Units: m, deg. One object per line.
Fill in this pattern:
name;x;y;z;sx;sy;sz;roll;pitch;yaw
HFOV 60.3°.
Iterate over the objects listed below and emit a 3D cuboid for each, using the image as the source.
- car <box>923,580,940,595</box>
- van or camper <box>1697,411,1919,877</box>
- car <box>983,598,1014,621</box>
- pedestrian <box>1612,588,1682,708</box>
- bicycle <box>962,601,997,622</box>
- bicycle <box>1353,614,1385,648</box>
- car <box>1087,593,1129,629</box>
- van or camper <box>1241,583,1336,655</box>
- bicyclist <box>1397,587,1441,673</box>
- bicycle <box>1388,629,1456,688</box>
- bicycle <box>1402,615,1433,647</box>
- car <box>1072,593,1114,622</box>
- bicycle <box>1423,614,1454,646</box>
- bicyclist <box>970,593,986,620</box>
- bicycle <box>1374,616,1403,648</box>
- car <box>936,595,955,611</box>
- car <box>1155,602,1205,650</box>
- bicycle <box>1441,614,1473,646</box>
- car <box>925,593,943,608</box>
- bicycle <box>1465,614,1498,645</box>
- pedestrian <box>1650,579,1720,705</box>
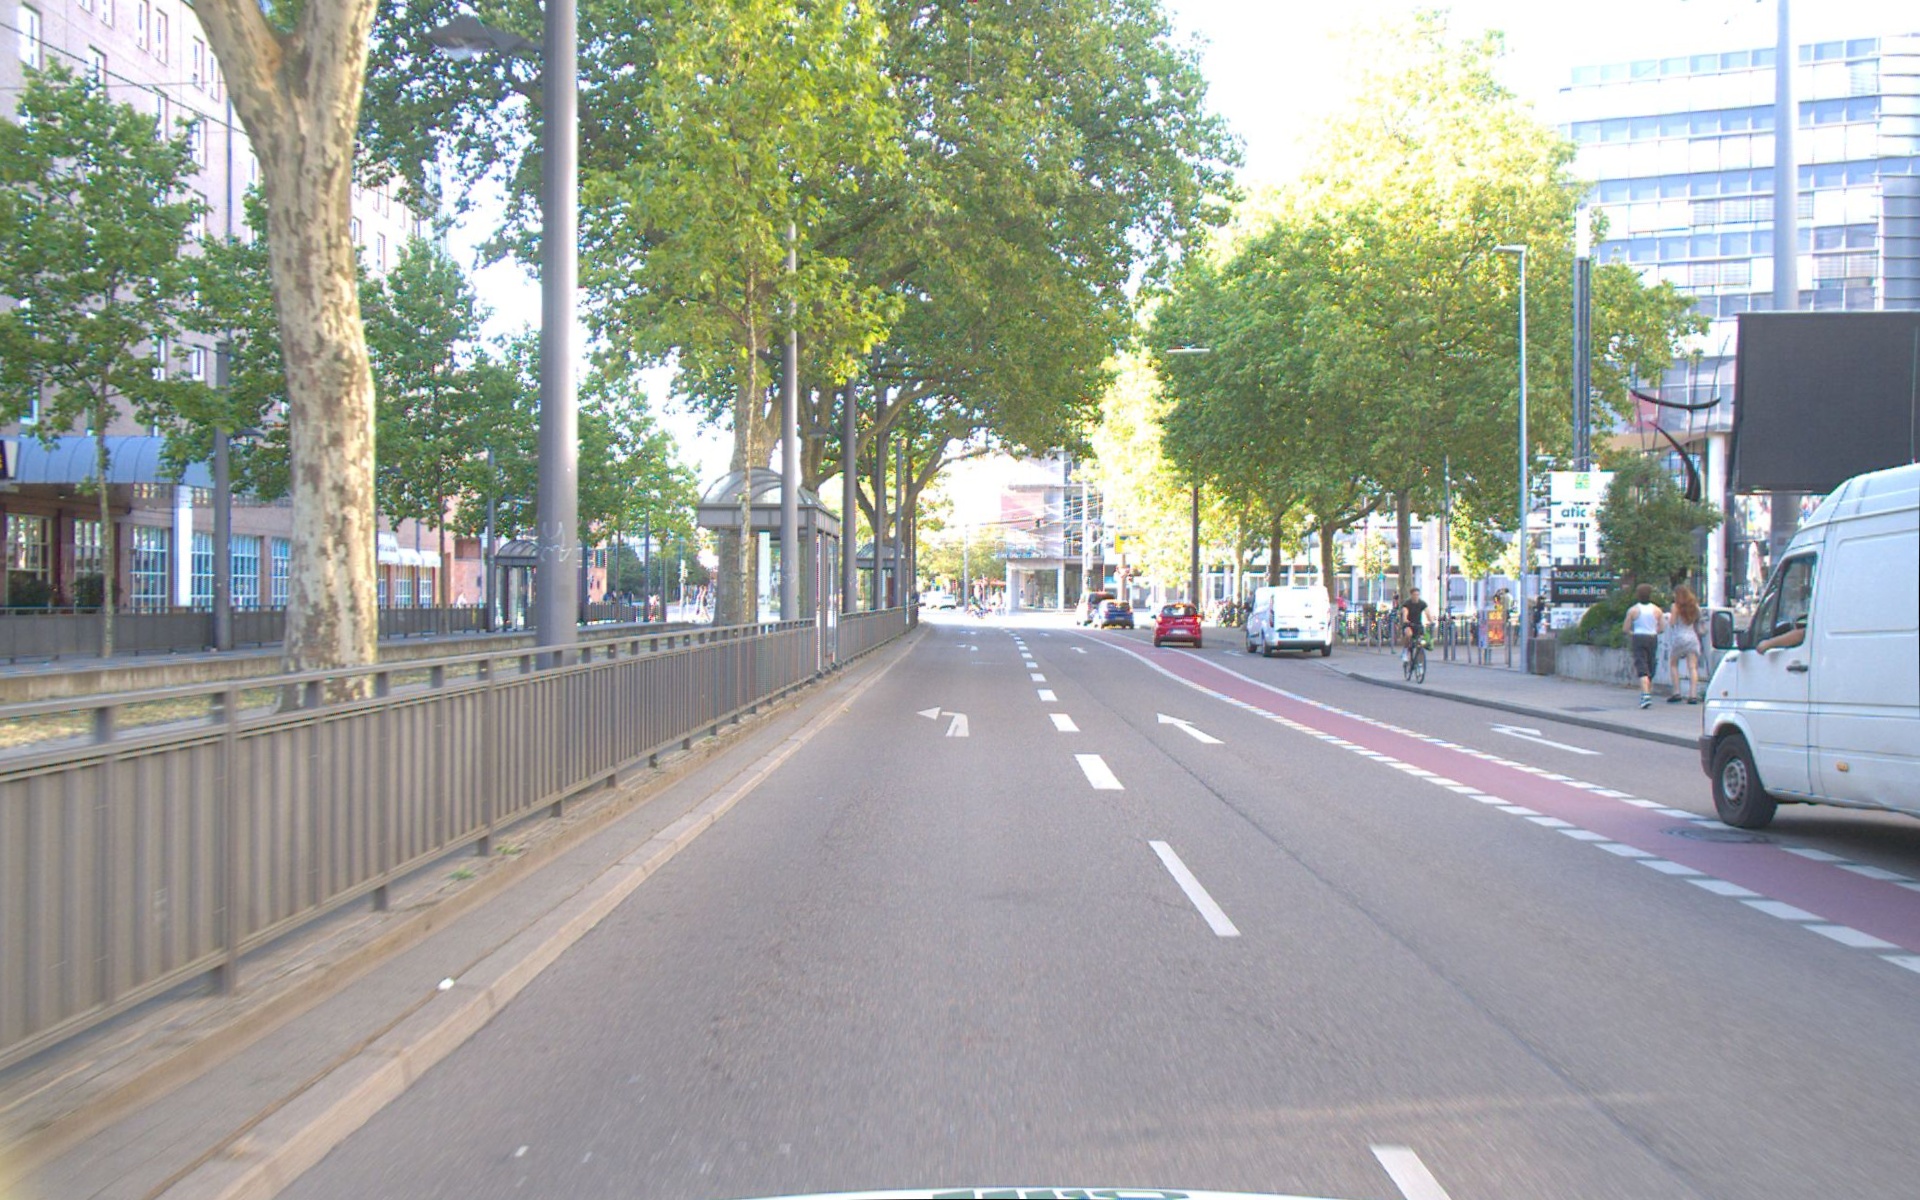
car;-3.187;-1.400;186.428;1.743;1.616;3.409;1;0;-4
van or camper;6.672;0.275;9.628;1.928;2.763;6.305;1;0;0
car;2.637;0.651;113.927;1.743;1.561;3.509;1;0;-4
pedestrian;10.198;0.698;24.578;0.553;1.732;0.906;-3;0;-2
bicycle;1.181;0.665;99.439;1.975;1.235;0.838;1;0;-9
bicycle;13.403;1.000;54.244;0.574;1.086;1.899;-1;0;0
car;7.680;0.530;86.015;1.604;1.831;3.326;0;0;-5
van or camper;9.620;0.535;48.768;1.952;2.024;4.745;0;0;1
bicyclist;9.354;0.598;33.727;0.636;1.731;0.952;0;0;-1
bicycle;9.335;1.159;33.519;0.669;1.086;2.469;-1;0;0
bicycle;14.985;1.007;54.246;0.493;0.999;1.767;-1;0;0
car;7.389;0.388;92.143;1.743;1.561;3.509;1;0;-4
bicycle;15.697;0.985;54.267;0.493;0.999;1.767;-1;0;0
bicyclist;1.089;0.368;99.404;0.821;1.619;0.838;1;0;-9
bicycle;14.032;1.043;54.232;0.458;0.999;1.767;-1;0;0
car;-1.541;0.296;173.824;1.743;1.561;3.409;1;0;-4
car;7.533;0.853;56.857;1.579;1.561;3.414;1;0;6
bicycle;16.298;0.980;54.278;0.493;0.999;1.767;-1;0;0
car;-2.802;0.060;180.416;1.743;1.561;3.409;1;0;-4
bicycle;17.078;0.956;54.203;0.493;0.999;1.767;-1;0;0
pedestrian;10.859;0.617;24.800;0.529;1.827;0.906;-3;0;-2
